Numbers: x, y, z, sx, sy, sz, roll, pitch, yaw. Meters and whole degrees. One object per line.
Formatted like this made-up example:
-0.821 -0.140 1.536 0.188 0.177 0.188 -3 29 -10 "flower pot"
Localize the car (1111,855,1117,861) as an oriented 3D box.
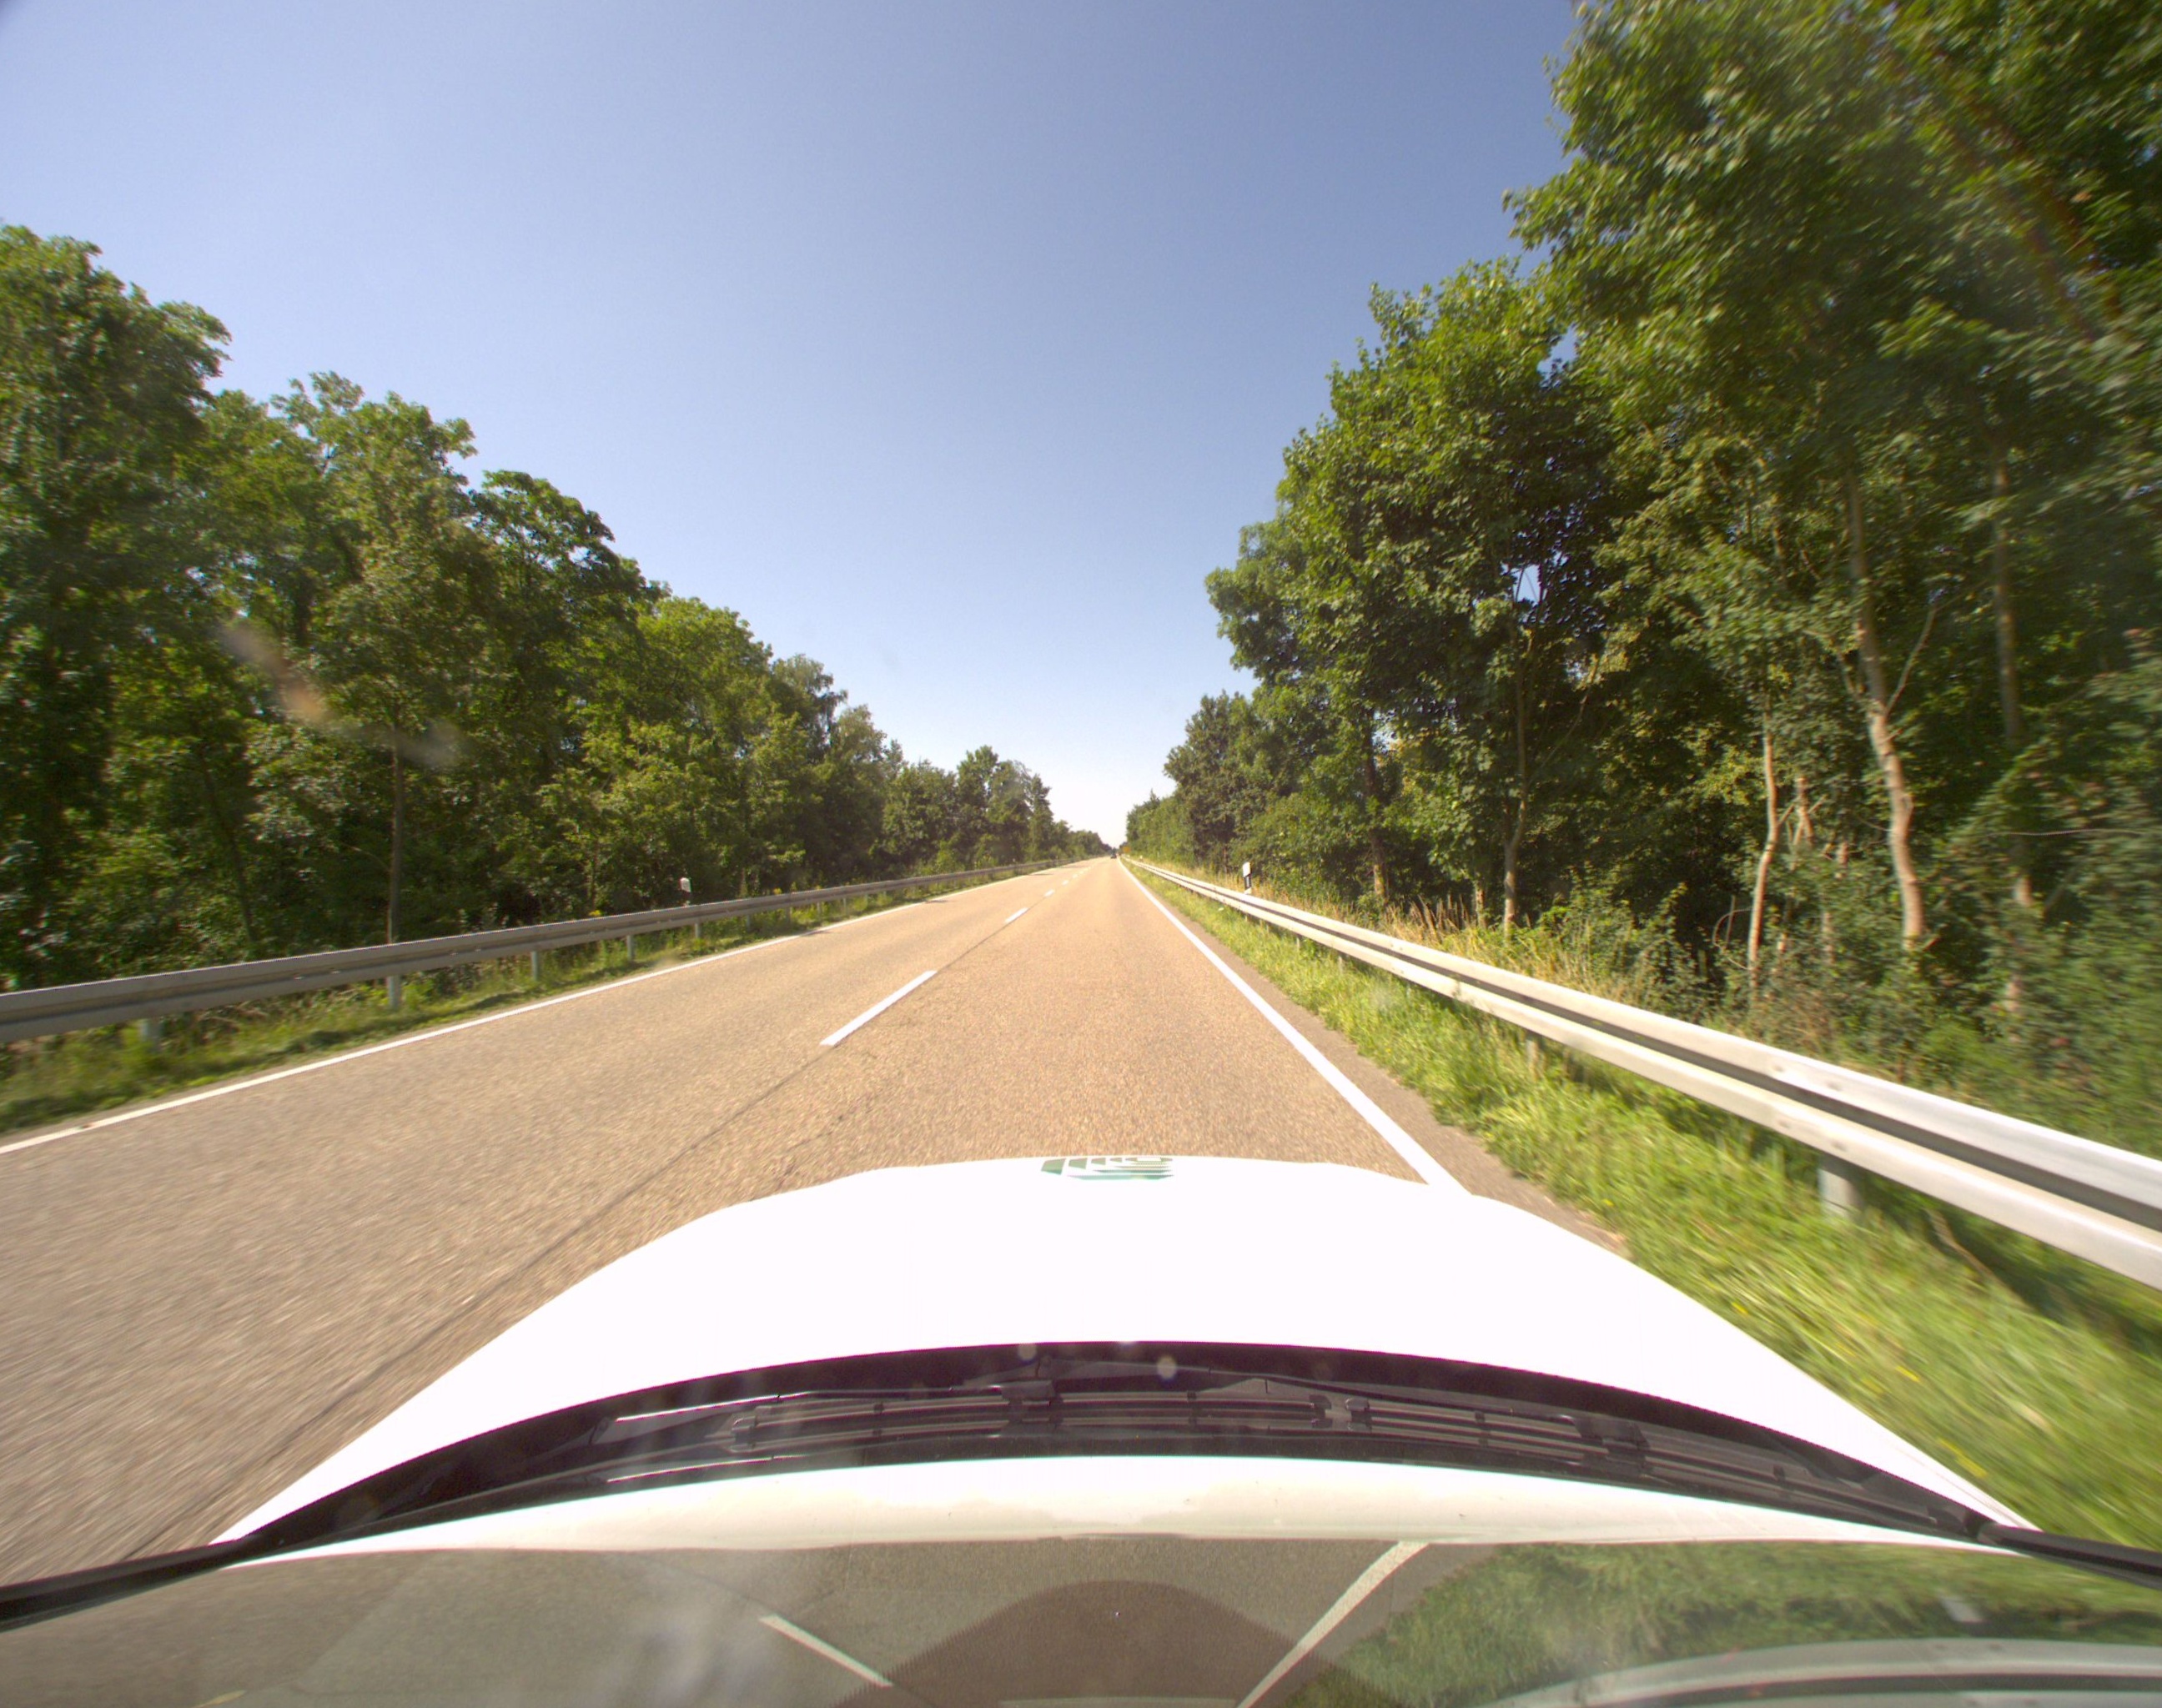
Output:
9.464 1.142 233.686 1.733 1.470 3.696 -1 0 4 "car"
